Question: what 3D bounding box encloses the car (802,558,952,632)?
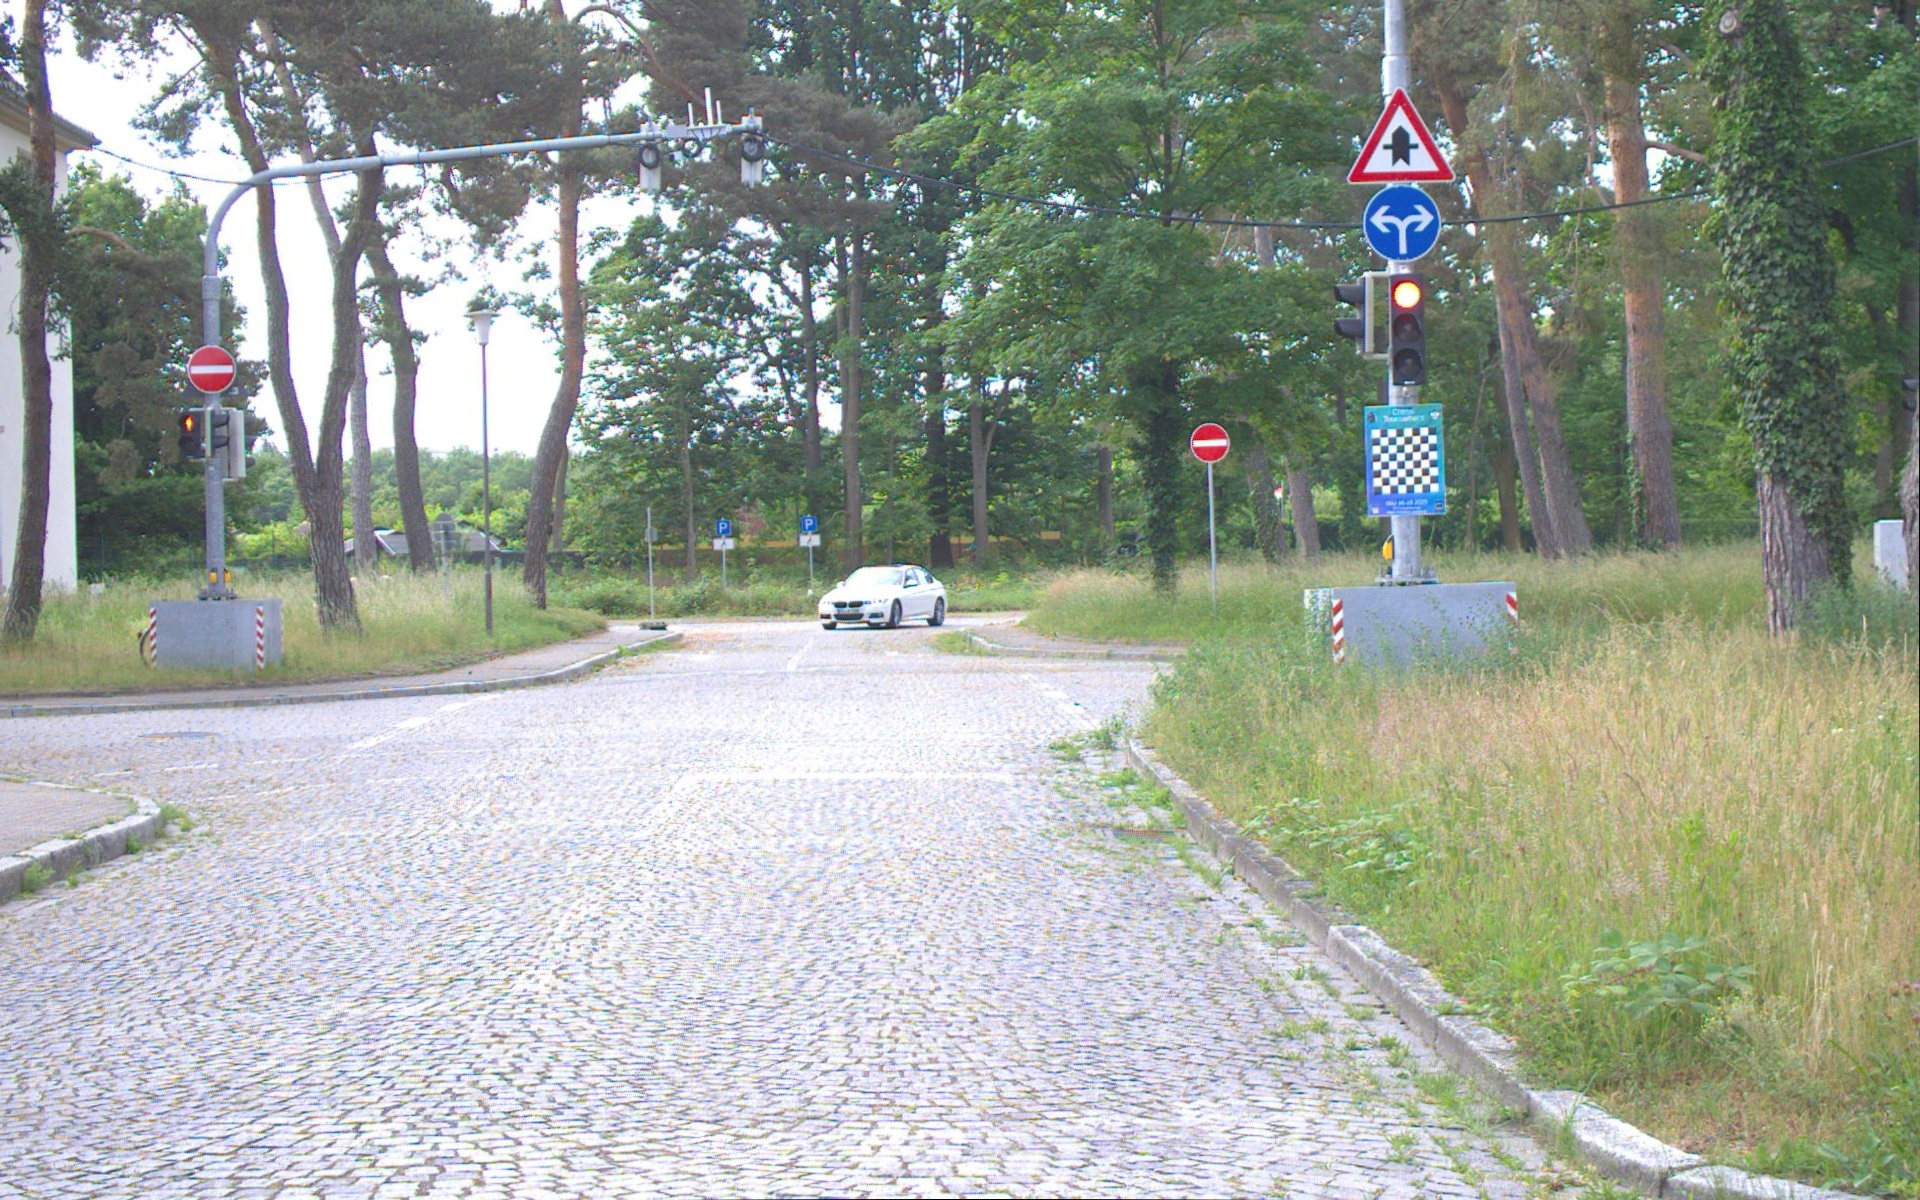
[{"bbox_3d":[-1.883,-0.143,79.325,1.775,1.433,4.213,-3,1,23],"label":"car"}]
